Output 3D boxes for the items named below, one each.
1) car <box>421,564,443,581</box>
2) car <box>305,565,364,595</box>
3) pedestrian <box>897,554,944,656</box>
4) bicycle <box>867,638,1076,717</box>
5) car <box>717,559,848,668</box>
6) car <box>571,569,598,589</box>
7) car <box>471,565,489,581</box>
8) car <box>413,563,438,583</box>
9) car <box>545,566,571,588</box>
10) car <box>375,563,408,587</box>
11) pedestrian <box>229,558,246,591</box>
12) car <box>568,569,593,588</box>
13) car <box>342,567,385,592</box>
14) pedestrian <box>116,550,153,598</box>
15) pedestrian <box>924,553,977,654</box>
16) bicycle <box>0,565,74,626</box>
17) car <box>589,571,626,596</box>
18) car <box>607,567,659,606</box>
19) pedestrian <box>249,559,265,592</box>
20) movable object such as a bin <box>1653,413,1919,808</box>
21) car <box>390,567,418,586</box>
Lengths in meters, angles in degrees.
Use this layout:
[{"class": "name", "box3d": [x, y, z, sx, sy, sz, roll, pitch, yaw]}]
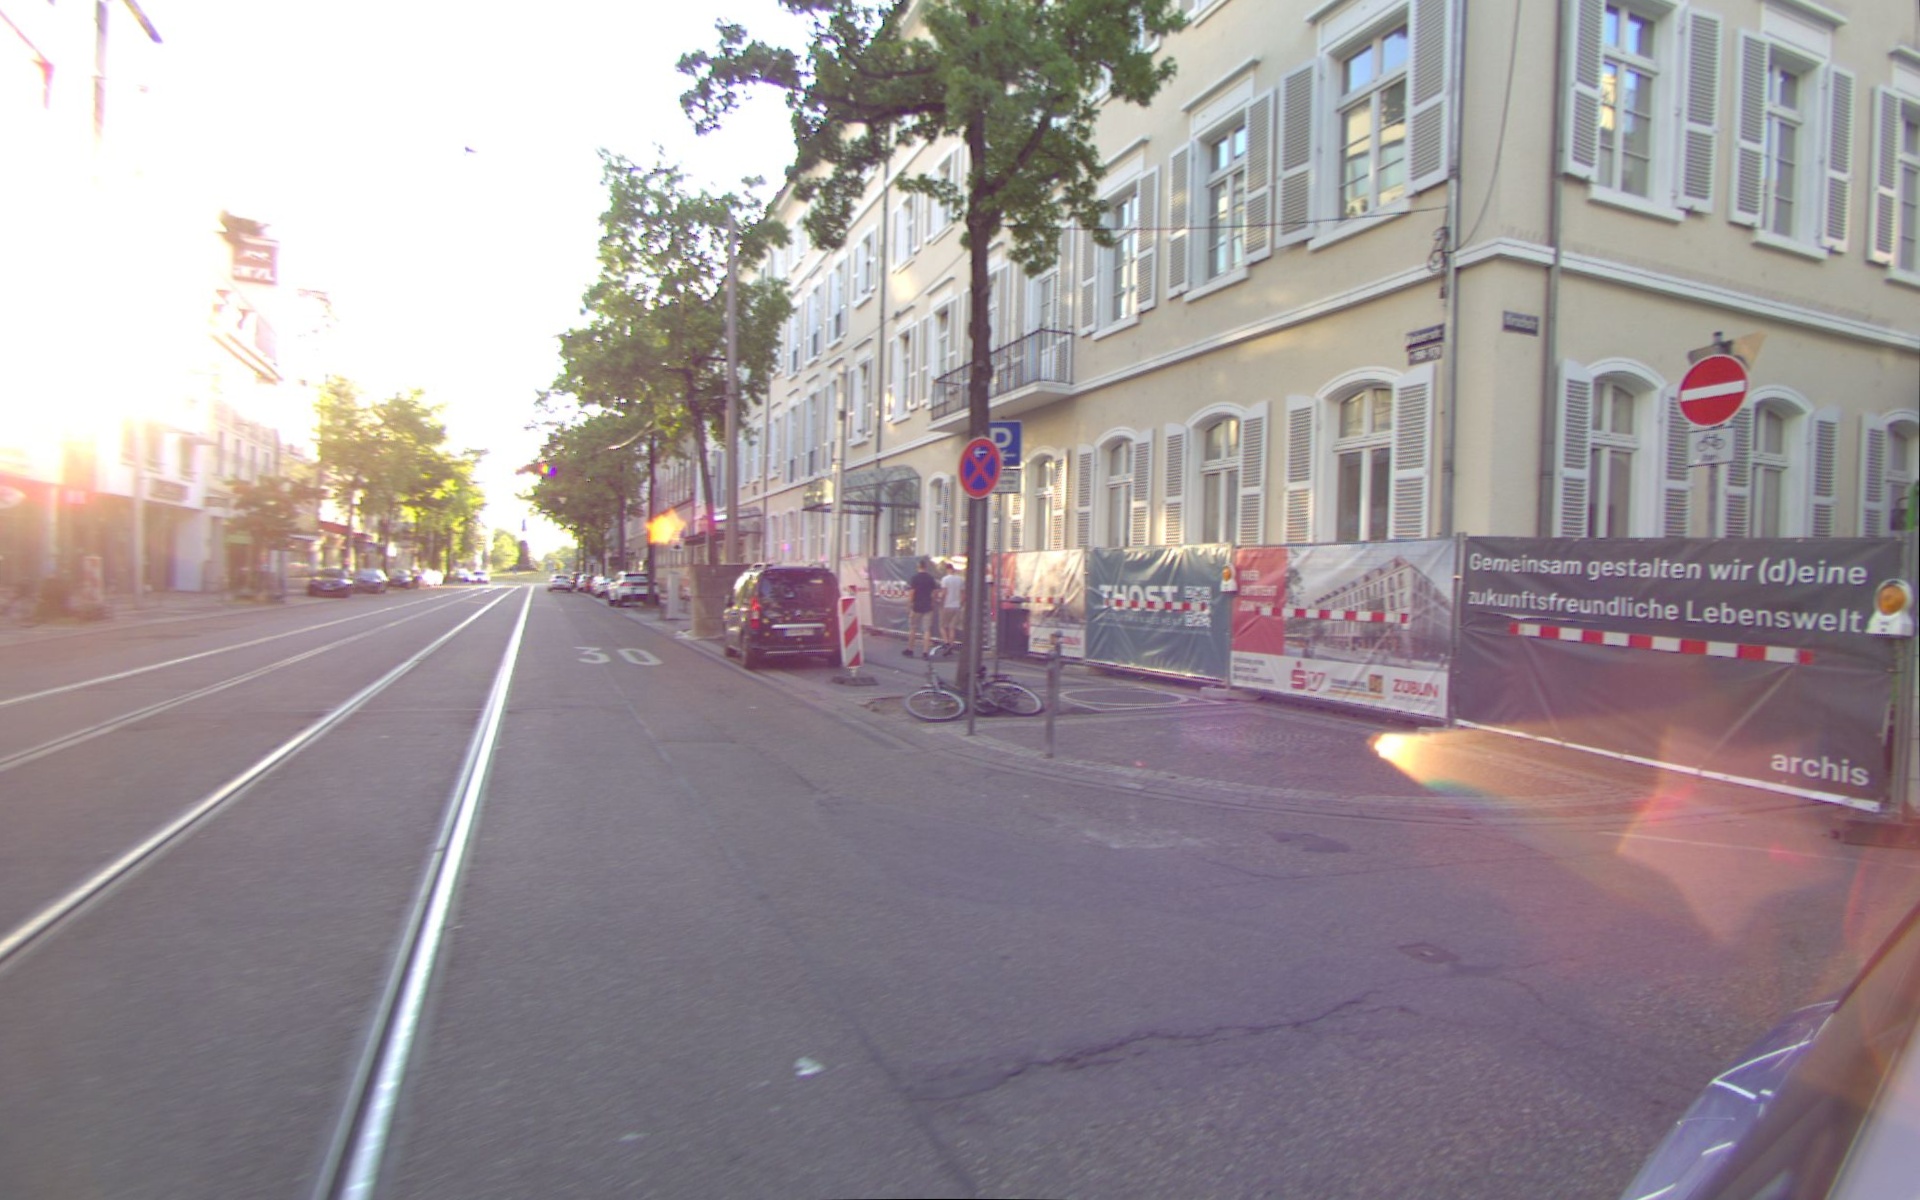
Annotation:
[{"class": "car", "box3d": [-55.916, -2.902, 107.174, 1.703, 1.759, 4.113, 1, 1, -23]}, {"class": "car", "box3d": [-32.051, -1.037, 51.952, 1.962, 1.379, 4.113, 3, 0, -23]}, {"class": "pedestrian", "box3d": [-0.759, 0.069, 19.394, 0.665, 1.908, 0.771, -1, 2, -22]}, {"class": "bicycle", "box3d": [0.125, 0.853, 11.742, 2.035, 0.715, 1.332, 0, 1, -29]}, {"class": "car", "box3d": [-3.416, 0.159, 18.912, 1.736, 1.786, 3.886, -1, 2, -20]}, {"class": "car", "box3d": [-31.216, -1.752, 84.129, 1.958, 1.596, 4.114, 1, 1, -21]}, {"class": "car", "box3d": [-56.603, -3.197, 119.346, 1.703, 1.759, 4.113, 1, 1, -23]}, {"class": "car", "box3d": [-50.856, -2.565, 96.339, 1.703, 1.759, 4.113, 1, 1, -23]}, {"class": "car", "box3d": [-33.663, -1.968, 84.719, 1.958, 1.759, 4.114, 1, 1, -21]}, {"class": "car", "box3d": [-42.987, -1.890, 76.590, 1.864, 1.713, 4.112, 1, 1, -26]}, {"class": "pedestrian", "box3d": [-34.842, -1.216, 48.819, 0.468, 1.566, 0.749, 2, 1, -23]}, {"class": "car", "box3d": [-33.632, -1.909, 89.626, 1.958, 1.568, 4.114, 1, 1, -21]}, {"class": "car", "box3d": [-35.789, -1.247, 60.827, 1.703, 1.336, 4.113, 3, 0, -24]}, {"class": "pedestrian", "box3d": [-28.018, -0.885, 34.345, 0.715, 1.577, 0.841, 2, 1, -21]}, {"class": "pedestrian", "box3d": [-0.192, 0.047, 19.802, 0.744, 1.908, 0.882, -1, 2, -22]}, {"class": "bicycle", "box3d": [-19.975, -0.123, 21.058, 2.120, 1.173, 0.763, 4, 1, -17]}, {"class": "car", "box3d": [-22.818, -1.101, 65.486, 1.958, 1.522, 4.113, 1, 1, -23]}, {"class": "car", "box3d": [-15.779, -0.652, 48.669, 1.958, 1.759, 4.113, 1, 1, -23]}, {"class": "pedestrian", "box3d": [-34.324, -1.188, 49.416, 0.468, 1.575, 0.749, 2, 1, -23]}, {"class": "movable object such as a bin", "box3d": [9.325, 0.126, 9.083, 5.449, 2.908, 2.649, 2, 1, -26]}, {"class": "car", "box3d": [-44.855, -1.913, 81.721, 1.652, 1.499, 3.854, 1, 1, -24]}]
